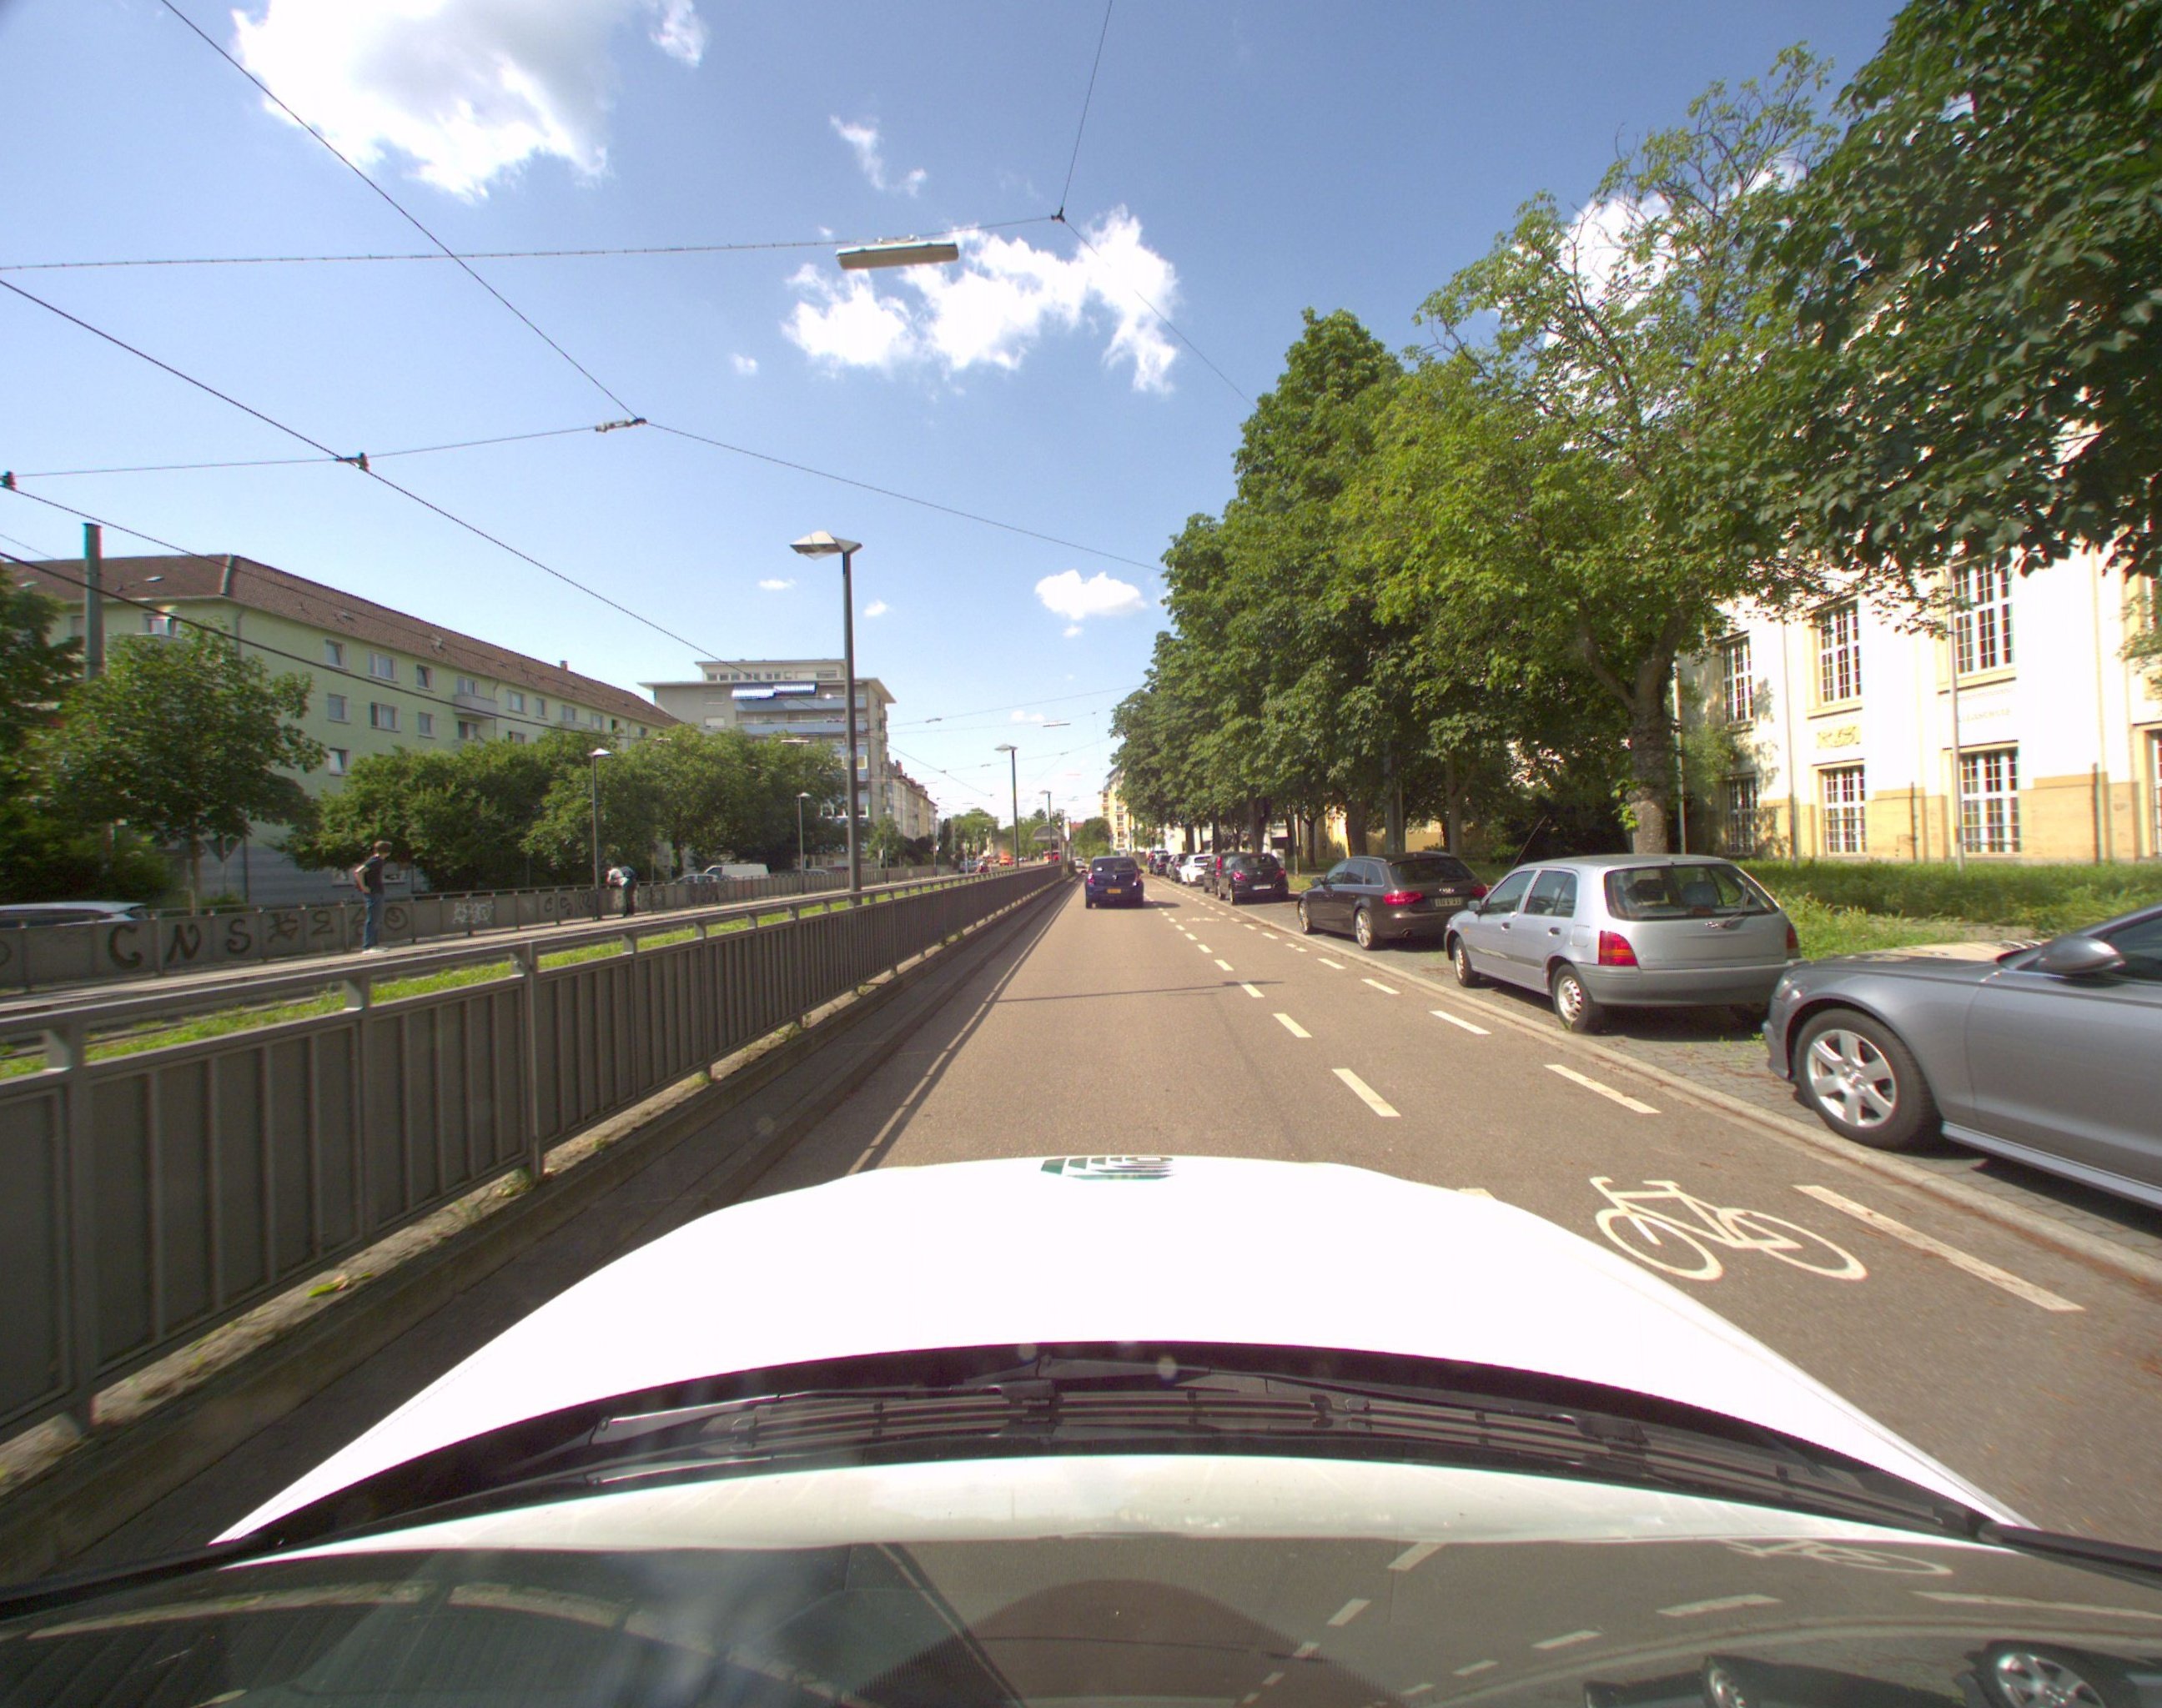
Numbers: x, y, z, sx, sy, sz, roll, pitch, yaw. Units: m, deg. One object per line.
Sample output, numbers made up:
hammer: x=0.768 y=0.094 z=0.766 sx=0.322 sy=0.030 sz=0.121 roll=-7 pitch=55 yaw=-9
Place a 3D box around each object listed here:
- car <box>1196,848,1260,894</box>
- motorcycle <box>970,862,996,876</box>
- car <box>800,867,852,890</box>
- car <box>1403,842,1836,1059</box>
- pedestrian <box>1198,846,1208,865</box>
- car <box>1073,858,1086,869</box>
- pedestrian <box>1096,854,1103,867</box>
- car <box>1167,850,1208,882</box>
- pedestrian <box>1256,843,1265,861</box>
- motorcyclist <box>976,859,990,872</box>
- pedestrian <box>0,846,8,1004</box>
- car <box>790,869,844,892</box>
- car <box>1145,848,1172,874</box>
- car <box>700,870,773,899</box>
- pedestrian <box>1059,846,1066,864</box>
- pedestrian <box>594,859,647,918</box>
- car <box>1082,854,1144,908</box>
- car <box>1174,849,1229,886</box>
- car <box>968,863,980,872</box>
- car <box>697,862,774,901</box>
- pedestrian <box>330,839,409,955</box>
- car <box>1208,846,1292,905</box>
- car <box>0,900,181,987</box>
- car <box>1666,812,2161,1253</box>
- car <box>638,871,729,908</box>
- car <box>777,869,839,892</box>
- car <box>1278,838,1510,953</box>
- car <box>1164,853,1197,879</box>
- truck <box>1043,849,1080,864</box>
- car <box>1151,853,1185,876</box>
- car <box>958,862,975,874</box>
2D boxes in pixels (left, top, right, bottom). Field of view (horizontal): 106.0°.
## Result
car: x=5.452 y=0.630 z=30.593 sx=1.551 sy=1.461 sz=3.556 roll=-6 pitch=-1 yaw=-1
motorcycle: x=-10.282 y=1.579 z=85.375 sx=2.530 sy=1.339 sz=1.006 roll=-3 pitch=0 yaw=-41
car: x=-20.460 y=1.937 z=65.293 sx=3.678 sy=1.579 sz=1.633 roll=-2 pitch=0 yaw=-30
car: x=4.652 y=0.680 z=7.858 sx=1.629 sy=1.431 sz=4.019 roll=-5 pitch=0 yaw=4
pedestrian: x=11.328 y=0.145 z=75.584 sx=0.741 sy=1.696 sz=0.767 roll=-3 pitch=0 yaw=2
car: x=-0.238 y=1.350 z=114.681 sx=1.618 sy=1.465 sz=3.506 roll=-1 pitch=-1 yaw=-3
pedestrian: x=2.587 y=0.940 z=114.683 sx=0.699 sy=1.789 sz=1.029 roll=-5 pitch=0 yaw=-2
car: x=5.843 y=0.637 z=44.931 sx=1.718 sy=1.583 sz=4.679 roll=-4 pitch=0 yaw=2
pedestrian: x=15.957 y=-0.192 z=72.526 sx=0.629 sy=1.596 sz=0.539 roll=-3 pitch=-1 yaw=-2
motorcyclist: x=-10.293 y=1.199 z=85.377 sx=0.992 sy=1.339 sz=0.930 roll=-3 pitch=0 yaw=-42
pedestrian: x=-12.416 y=0.801 z=8.991 sx=0.601 sy=1.754 sz=0.629 roll=-3 pitch=-2 yaw=41
car: x=-20.348 y=2.010 z=62.809 sx=3.678 sy=1.579 sz=1.633 roll=-2 pitch=0 yaw=-30
car: x=6.113 y=0.520 z=64.706 sx=1.815 sy=1.896 sz=4.187 roll=-4 pitch=0 yaw=3
car: x=-21.536 y=1.877 z=50.954 sx=3.964 sy=1.579 sz=1.702 roll=-2 pitch=0 yaw=-31
pedestrian: x=-1.721 y=0.112 z=76.433 sx=0.516 sy=1.648 sz=0.530 roll=-3 pitch=-1 yaw=-2
pedestrian: x=-12.847 y=0.963 z=22.750 sx=0.986 sy=1.578 sz=0.798 roll=-3 pitch=-1 yaw=-2
car: x=0.936 y=0.789 z=24.887 sx=1.738 sy=1.507 sz=4.000 roll=-1 pitch=-1 yaw=1
car: x=5.758 y=0.639 z=39.330 sx=1.830 sy=1.523 sz=4.251 roll=-5 pitch=0 yaw=-1
car: x=-17.149 y=2.160 z=130.565 sx=1.765 sy=1.442 sz=3.993 roll=-1 pitch=-1 yaw=-4
car: x=-20.602 y=1.592 z=48.601 sx=3.964 sy=2.070 sz=2.030 roll=-2 pitch=0 yaw=-30
pedestrian: x=-12.005 y=0.715 z=13.762 sx=0.747 sy=1.892 sz=0.639 roll=-2 pitch=-3 yaw=3
car: x=5.171 y=0.620 z=25.398 sx=1.685 sy=1.561 sz=4.308 roll=-5 pitch=0 yaw=1
car: x=-21.681 y=1.857 z=16.621 sx=4.174 sy=1.565 sz=1.904 roll=-2 pitch=-1 yaw=-40
car: x=4.629 y=0.596 z=2.647 sx=1.822 sy=1.441 sz=5.051 roll=-5 pitch=0 yaw=1
car: x=-20.891 y=1.828 z=42.889 sx=4.018 sy=1.639 sz=1.807 roll=-2 pitch=1 yaw=-36
car: x=-20.173 y=1.930 z=60.204 sx=4.039 sy=1.514 sz=1.594 roll=-2 pitch=0 yaw=-29
car: x=4.970 y=0.631 z=13.800 sx=1.827 sy=1.467 sz=4.826 roll=-4 pitch=-1 yaw=-2
car: x=6.111 y=0.712 z=50.340 sx=1.585 sy=1.445 sz=3.599 roll=-4 pitch=-1 yaw=2
truck: x=-4.791 y=0.628 z=200.099 sx=8.387 sy=3.185 sz=2.586 roll=-4 pitch=-1 yaw=-21
car: x=6.278 y=0.735 z=59.343 sx=1.911 sy=1.442 sz=4.796 roll=-5 pitch=0 yaw=0
car: x=-16.054 y=1.922 z=114.614 sx=1.989 sy=1.645 sz=3.996 roll=-1 pitch=-1 yaw=-3
